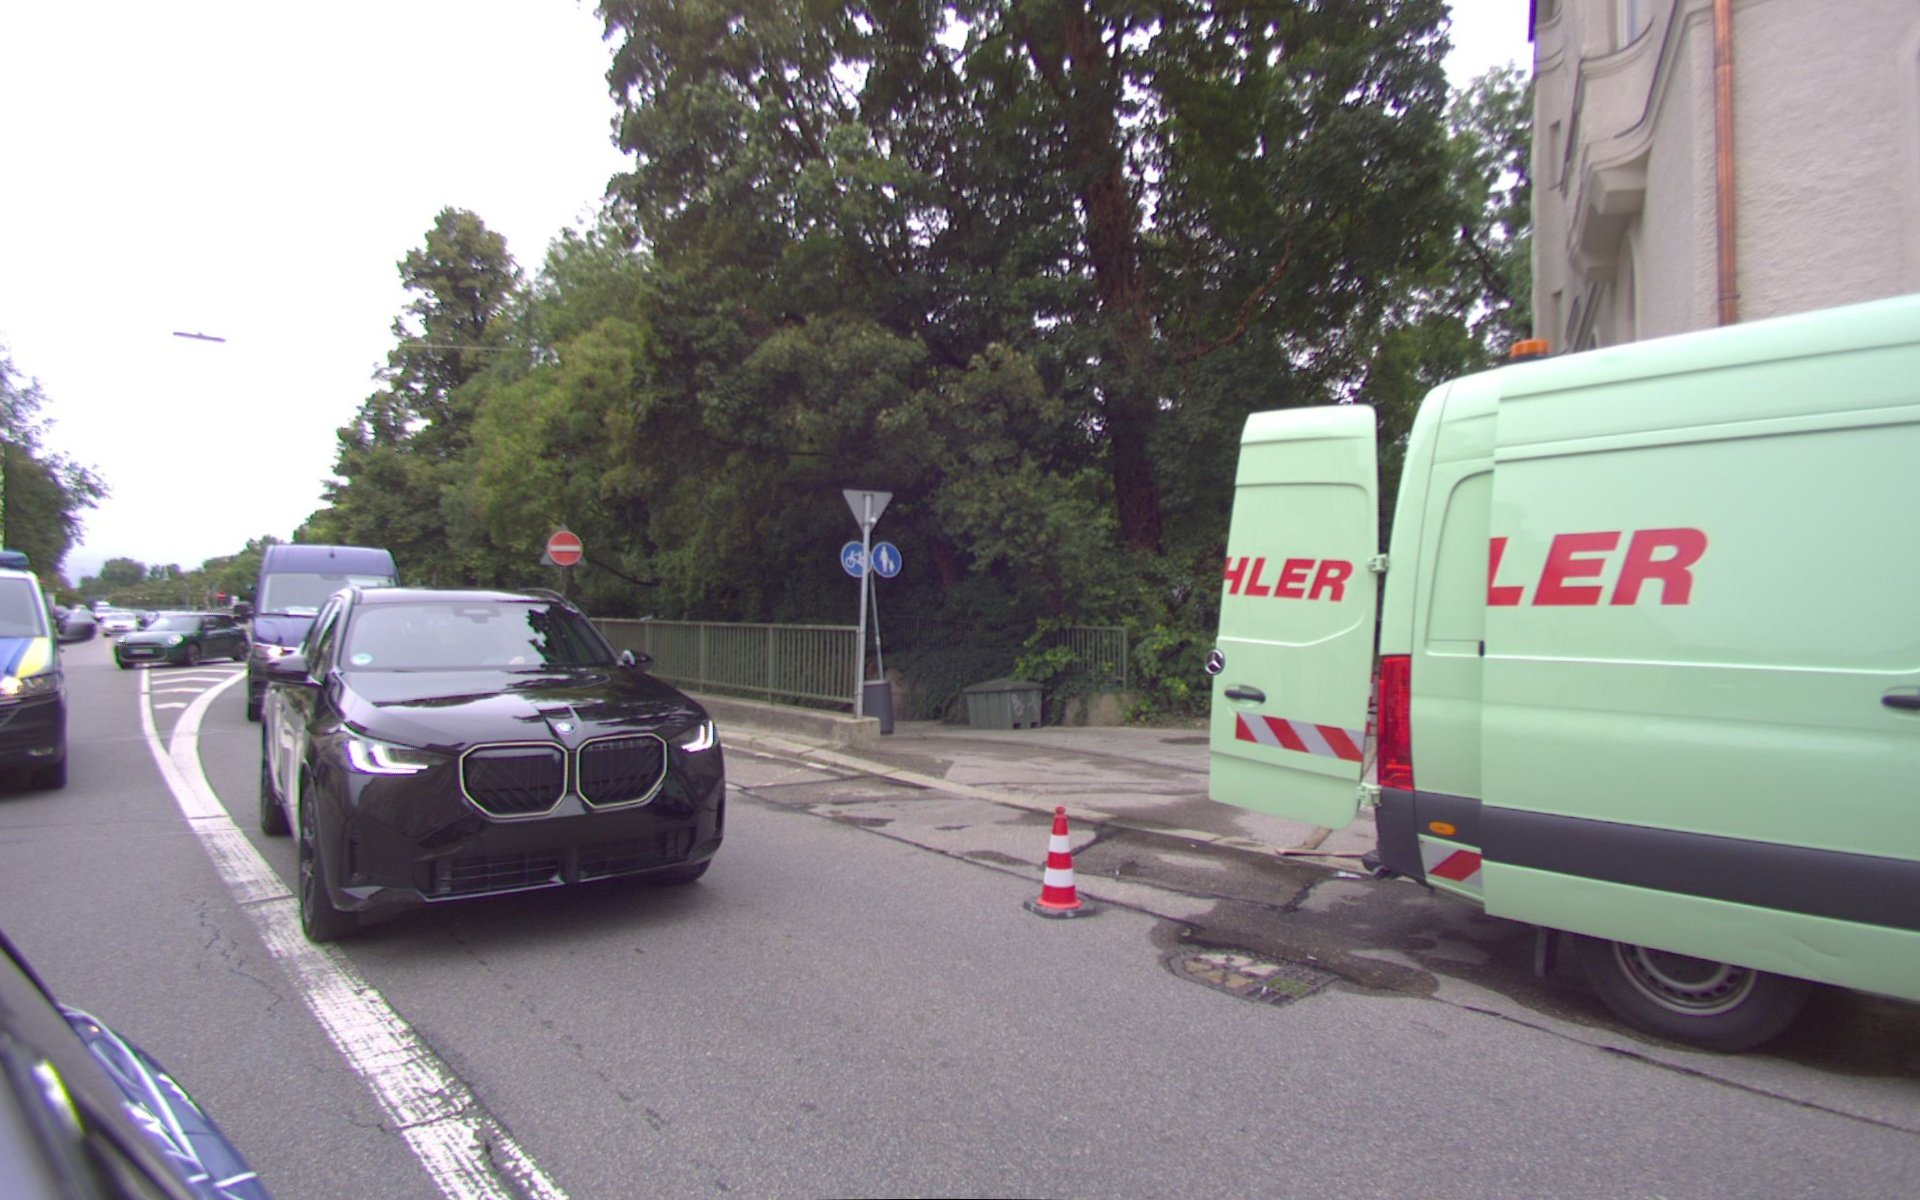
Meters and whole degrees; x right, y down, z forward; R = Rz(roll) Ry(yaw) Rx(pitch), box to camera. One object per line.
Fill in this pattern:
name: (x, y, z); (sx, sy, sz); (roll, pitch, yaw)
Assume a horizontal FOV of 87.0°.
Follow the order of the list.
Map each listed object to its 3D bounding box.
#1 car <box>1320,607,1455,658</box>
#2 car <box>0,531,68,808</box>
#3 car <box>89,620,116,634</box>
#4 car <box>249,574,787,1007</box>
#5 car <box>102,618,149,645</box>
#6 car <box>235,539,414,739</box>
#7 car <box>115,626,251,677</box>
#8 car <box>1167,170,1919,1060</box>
car: (14.802, 1.136, 35.238); (4.187, 1.616, 1.649); (-2, 0, 22)
car: (-9.593, 0.577, 9.465); (1.799, 2.115, 5.641); (1, -2, -41)
car: (-87.840, 2.757, 103.683); (1.811, 1.409, 4.003); (3, -3, -44)
car: (-2.904, 0.725, 5.982); (1.892, 1.577, 4.303); (1, -1, -38)
car: (-52.138, 1.964, 63.279); (1.967, 1.608, 4.009); (2, -2, -36)
car: (-9.936, 0.505, 15.870); (1.973, 2.510, 6.250); (0, 0, -32)
car: (-21.255, 1.369, 27.862); (1.472, 1.223, 3.619); (0, -1, -10)
car: (4.093, 0.032, 3.108); (2.115, 2.592, 6.801); (1, -2, -43)
